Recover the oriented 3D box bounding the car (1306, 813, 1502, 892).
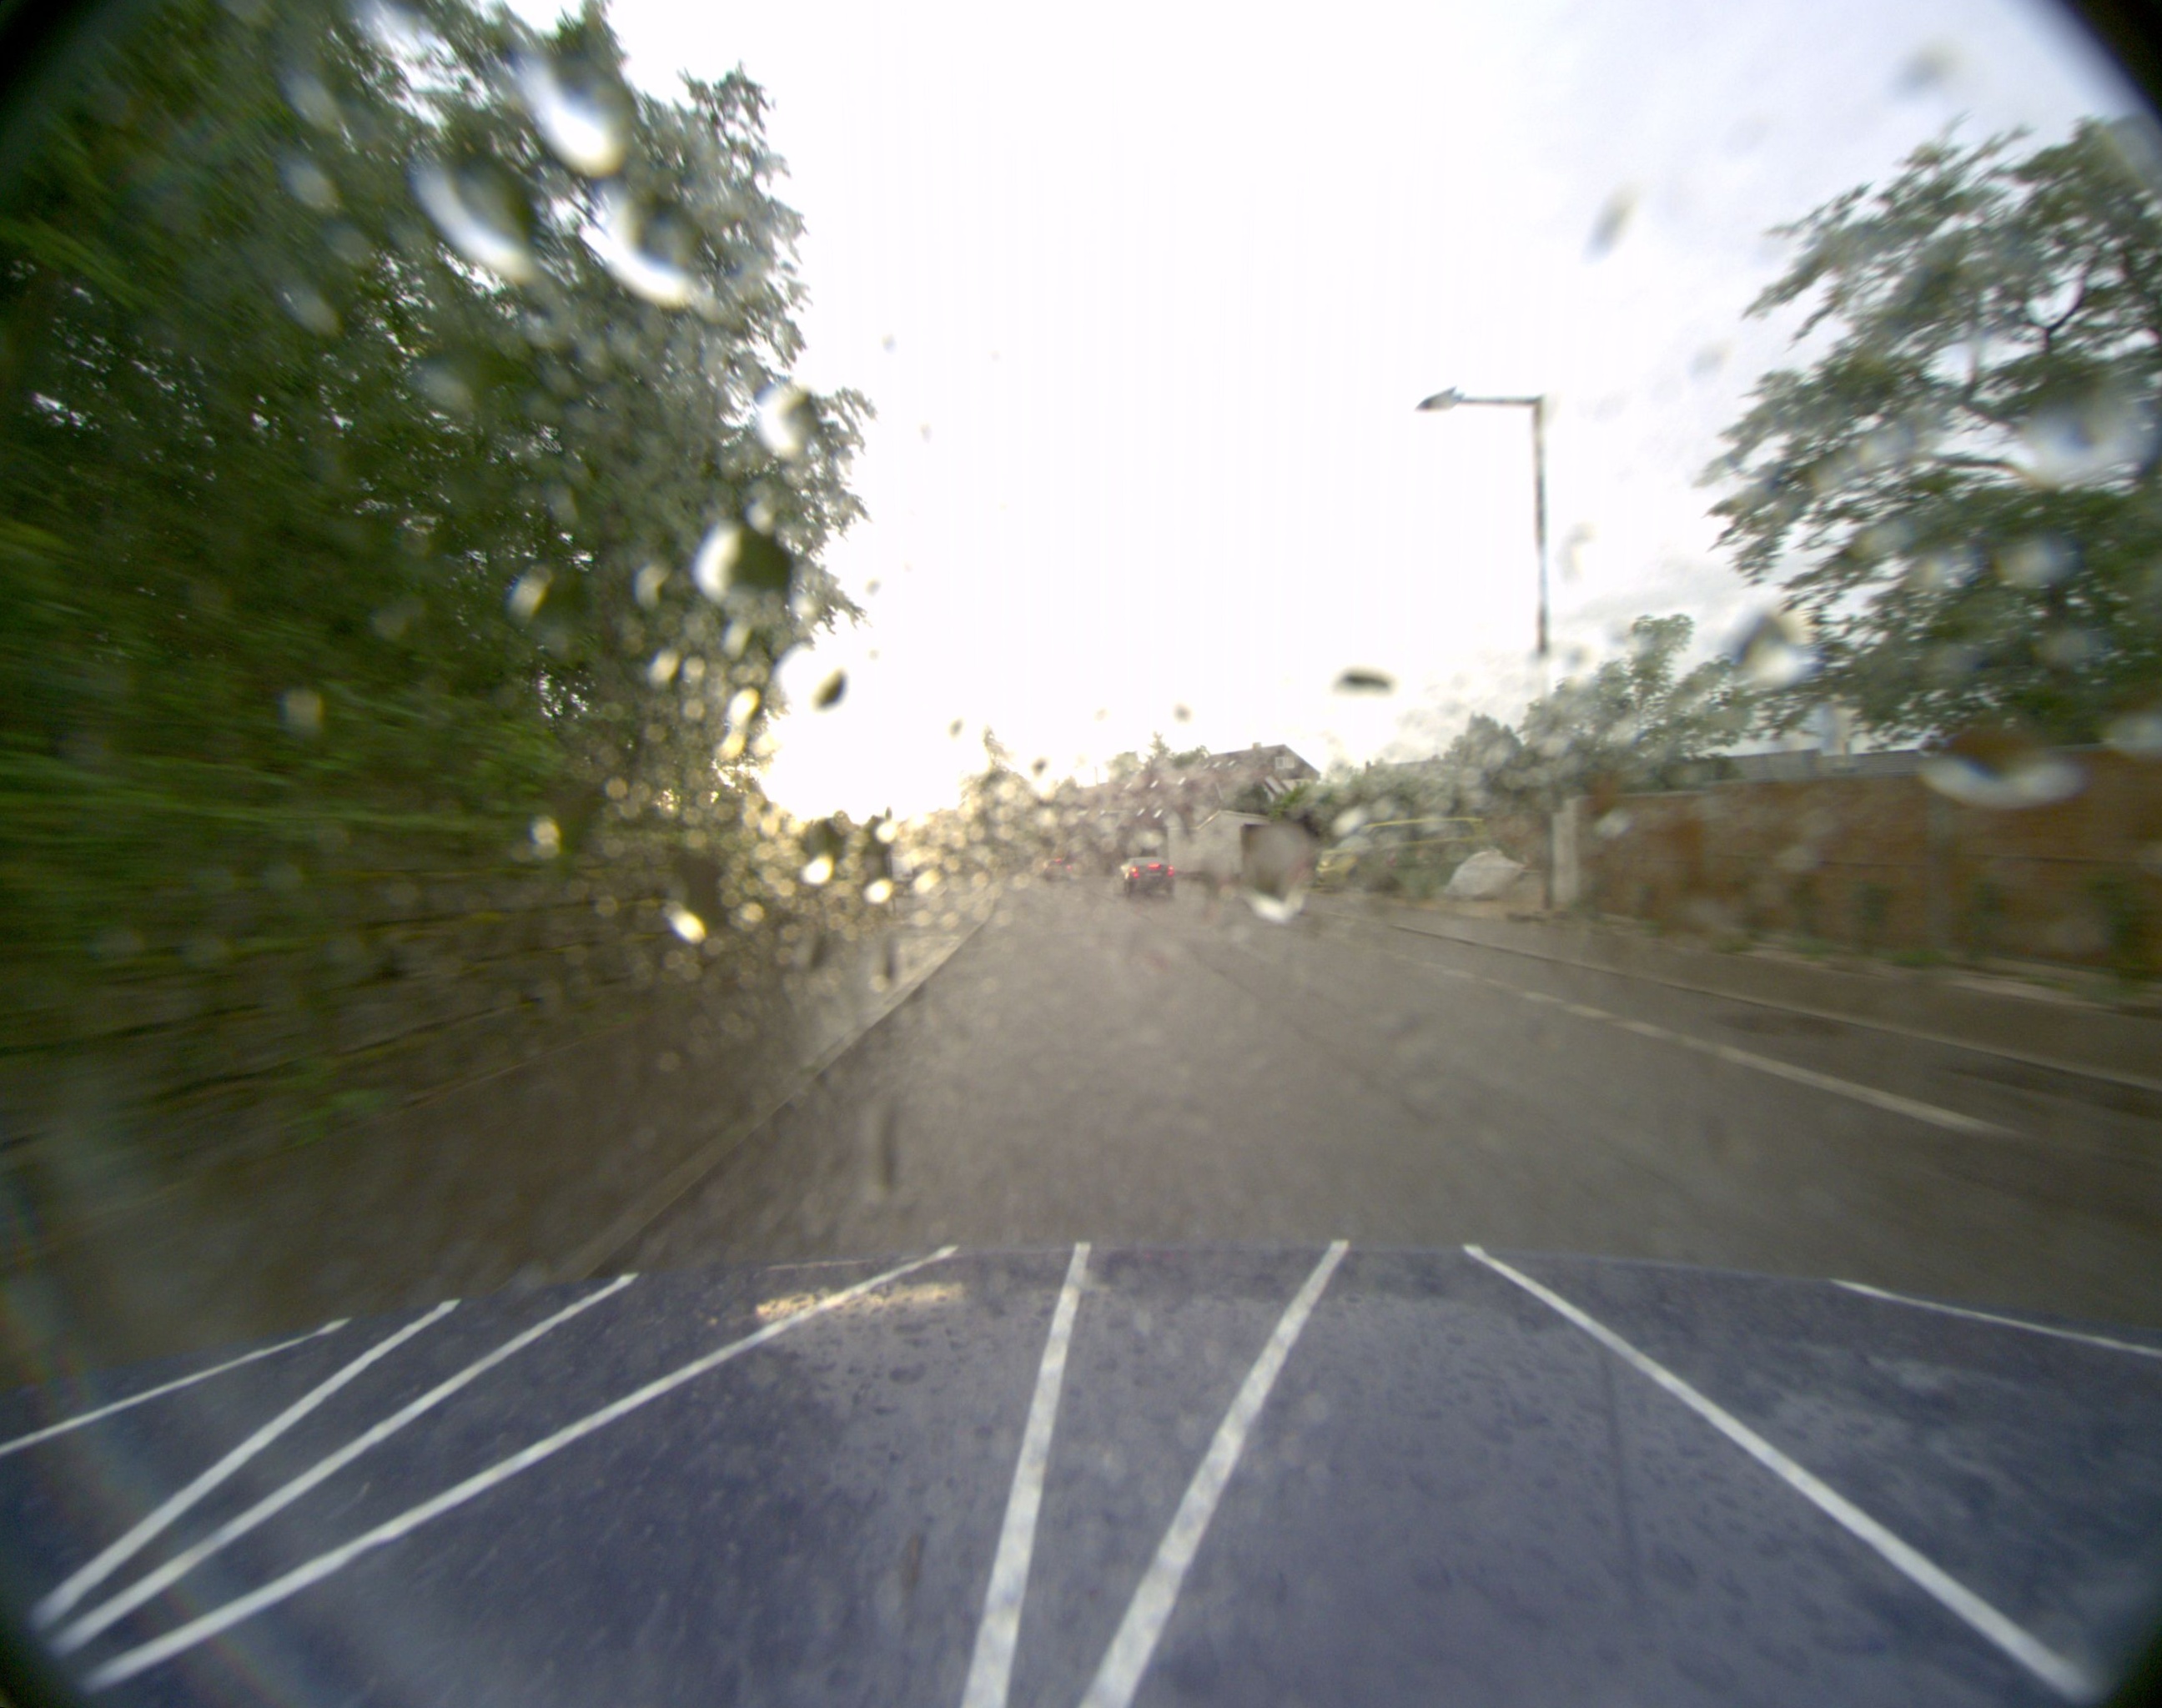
[{"bbox_3d":[8.928,-0.038,21.282,4.515,1.849,2.089,-3,0,-1],"label":"car"}]

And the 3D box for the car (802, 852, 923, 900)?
[{"bbox_3d":[-9.909,0.973,34.750,2.151,1.929,4.851,-3,0,39],"label":"car"}]

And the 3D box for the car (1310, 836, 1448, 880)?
[{"bbox_3d":[10.106,0.135,25.886,4.008,1.295,1.790,-2,0,-9],"label":"car"}]

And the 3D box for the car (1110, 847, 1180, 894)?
[{"bbox_3d":[2.269,0.562,28.121,1.839,1.503,4.167,-3,1,-5],"label":"car"}]

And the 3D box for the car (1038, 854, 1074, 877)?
[{"bbox_3d":[-1.853,0.784,55.241,1.840,1.503,4.613,-3,1,-11],"label":"car"}]
